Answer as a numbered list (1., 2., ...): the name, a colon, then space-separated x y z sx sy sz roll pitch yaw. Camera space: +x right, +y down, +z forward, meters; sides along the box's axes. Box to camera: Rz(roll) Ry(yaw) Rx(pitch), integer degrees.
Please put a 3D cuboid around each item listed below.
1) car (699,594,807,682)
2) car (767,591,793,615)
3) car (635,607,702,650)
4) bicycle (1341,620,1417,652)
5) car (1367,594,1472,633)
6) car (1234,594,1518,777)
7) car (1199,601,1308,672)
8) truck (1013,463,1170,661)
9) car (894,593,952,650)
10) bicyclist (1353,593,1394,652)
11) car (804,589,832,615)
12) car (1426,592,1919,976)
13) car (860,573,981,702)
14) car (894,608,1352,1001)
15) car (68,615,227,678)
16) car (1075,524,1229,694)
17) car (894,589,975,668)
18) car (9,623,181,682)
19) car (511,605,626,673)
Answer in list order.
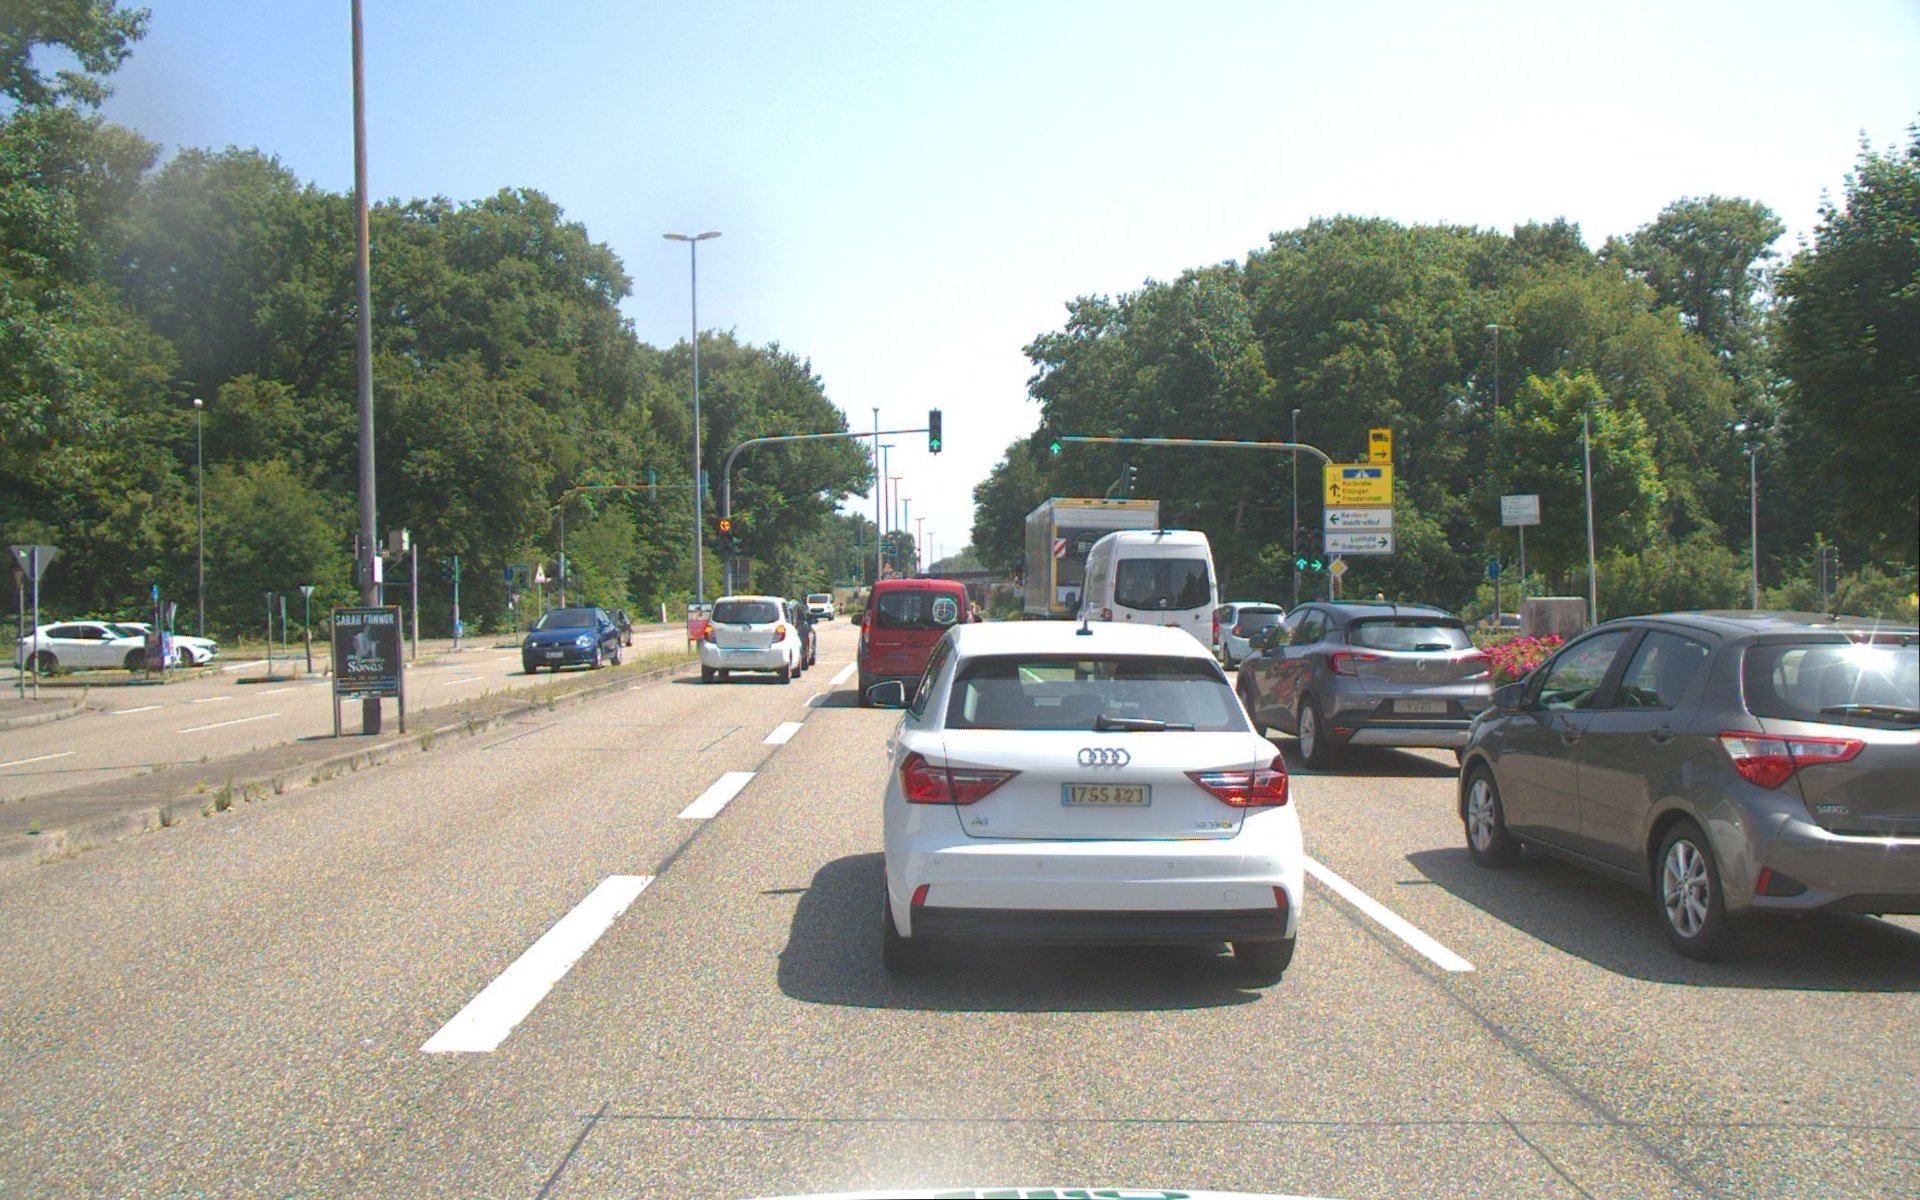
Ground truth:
1. car: -3.793 0.660 30.846 1.677 1.519 4.089 0 0 -3
2. car: -14.821 0.271 136.493 1.834 1.893 3.998 -1 0 -2
3. car: -10.742 1.033 61.216 1.769 1.359 3.999 -4 0 -2
4. bicycle: 10.499 0.893 41.516 1.796 0.779 0.596 -1 0 45
5. car: 18.777 0.543 67.707 3.903 1.489 1.675 -1 0 5
6. car: 4.029 0.756 16.695 1.677 1.621 4.089 0 0 -3
7. car: 6.842 0.825 38.908 1.677 1.573 4.089 0 0 -3
8. truck: 3.205 -0.880 43.744 3.026 4.511 11.577 1 0 -1
9. car: -1.161 0.637 50.518 1.677 1.660 4.089 0 0 -3
10. bicyclist: 10.403 0.568 41.611 0.815 1.464 0.595 -1 0 44
11. car: -10.709 0.168 124.737 1.834 1.893 3.998 -1 0 -2
12. car: 3.964 0.761 8.674 1.678 1.504 4.089 3 0 -3
13. car: -0.635 0.521 24.979 1.677 1.779 4.089 0 0 -3
14. car: 0.525 0.758 8.122 1.677 1.410 4.089 0 0 -3
15. car: -26.925 1.511 54.947 4.291 1.710 1.807 -4 0 -9
16. car: 3.232 0.143 28.783 1.990 2.690 4.843 0 0 -2
17. car: -0.620 0.608 36.916 1.677 1.660 4.089 0 0 -3
18. car: -26.669 1.611 51.131 4.290 1.711 1.807 1 -1 -9
19. car: -9.117 0.866 38.796 1.769 1.359 3.999 -4 0 -2
